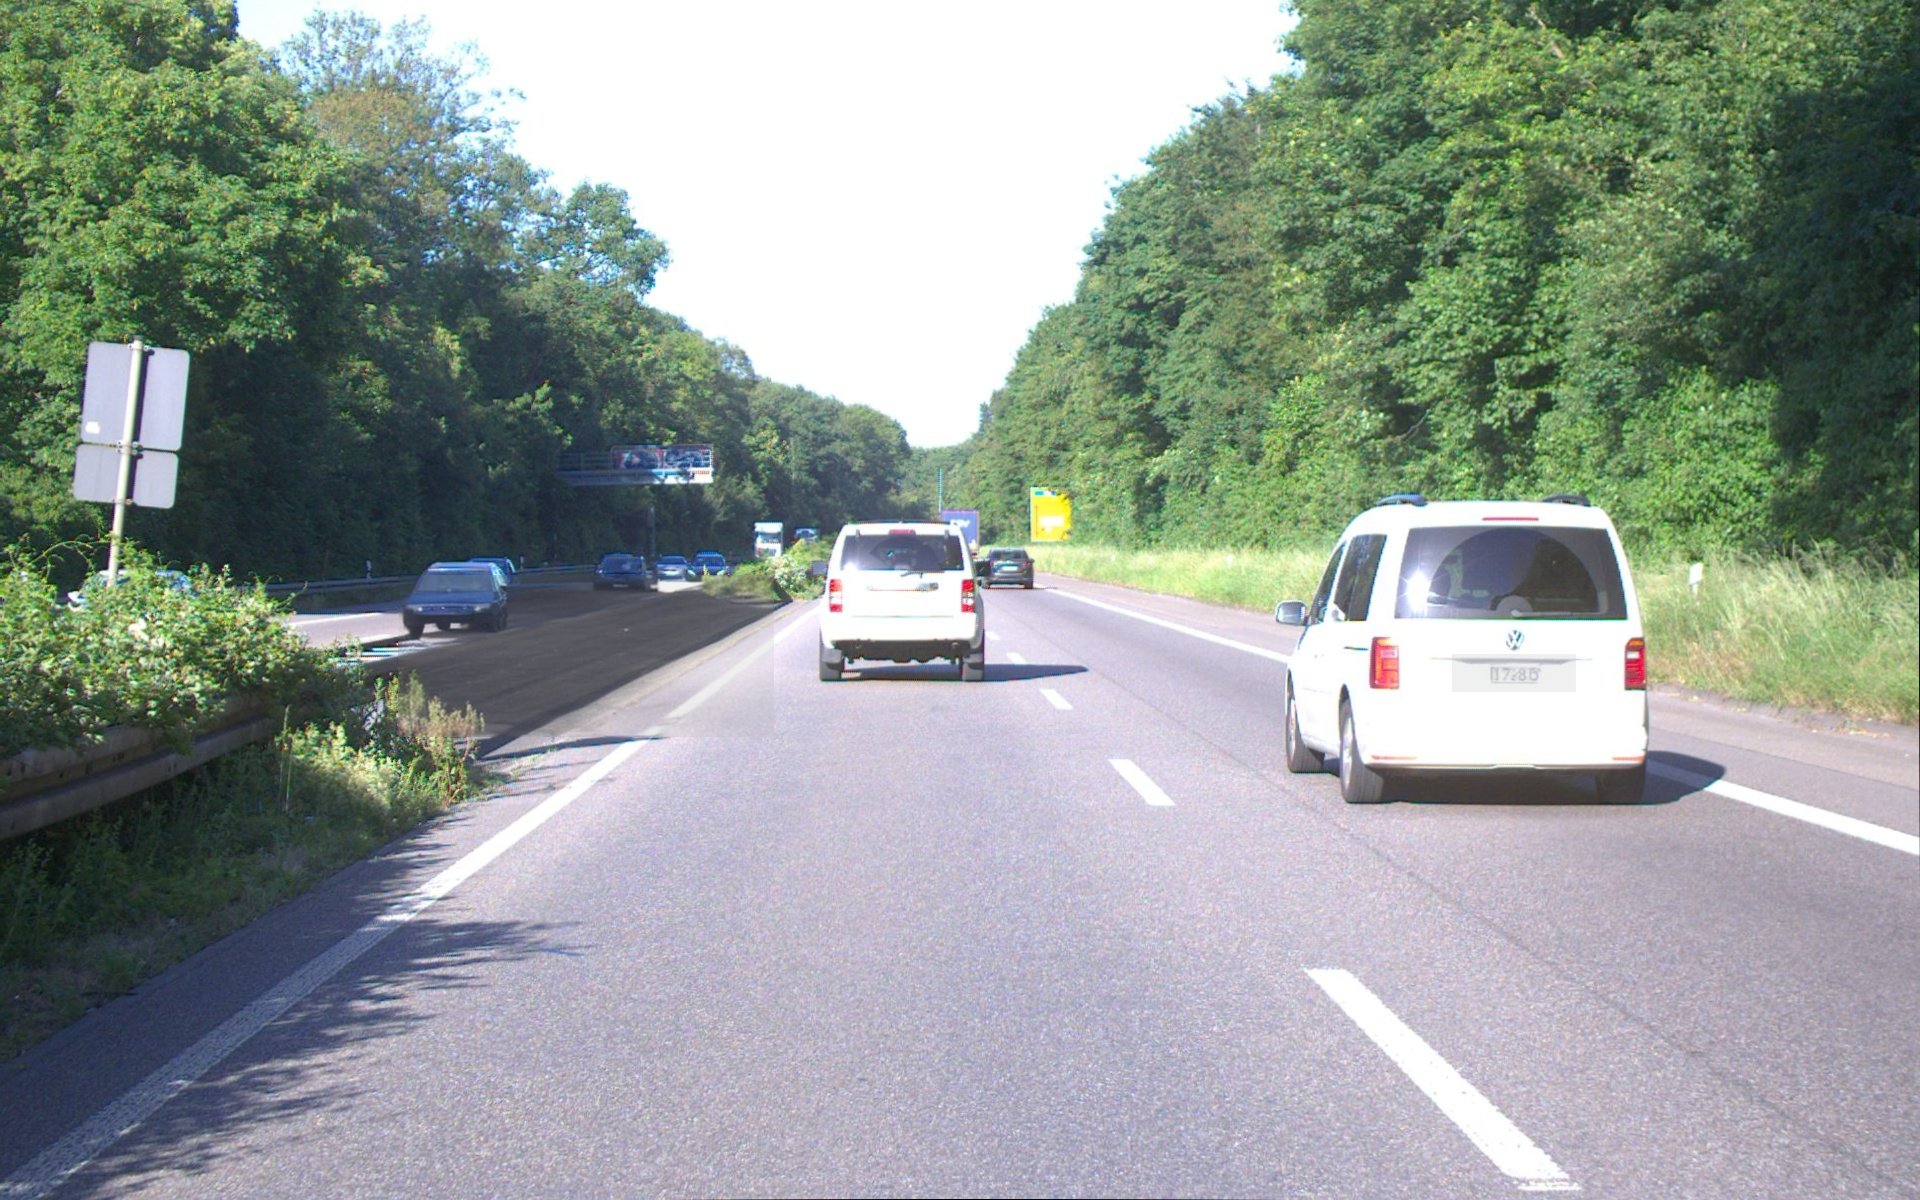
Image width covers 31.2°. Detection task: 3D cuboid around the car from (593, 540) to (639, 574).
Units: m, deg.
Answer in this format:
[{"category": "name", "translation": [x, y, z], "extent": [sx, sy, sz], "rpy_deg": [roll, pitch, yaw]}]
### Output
[{"category": "car", "translation": [-15.126, -1.900, 151.376], "extent": [1.718, 1.440, 4.229], "rpy_deg": [-1, 1, -2]}]

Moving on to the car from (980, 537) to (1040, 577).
[{"category": "car", "translation": [1.778, -1.564, 123.338], "extent": [1.993, 1.393, 4.000], "rpy_deg": [1, 1, -1]}]

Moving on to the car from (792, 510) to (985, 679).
[{"category": "car", "translation": [-0.874, -0.096, 39.166], "extent": [2.085, 1.822, 4.001], "rpy_deg": [0, 1, -3]}]

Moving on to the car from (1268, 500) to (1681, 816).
[{"category": "car", "translation": [3.094, 0.283, 21.584], "extent": [1.863, 1.764, 4.470], "rpy_deg": [0, 1, -1]}]

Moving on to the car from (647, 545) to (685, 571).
[{"category": "car", "translation": [-15.445, -2.216, 180.740], "extent": [1.718, 1.352, 4.229], "rpy_deg": [-1, 1, -2]}]

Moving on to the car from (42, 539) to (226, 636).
[{"category": "car", "translation": [-13.172, -0.235, 55.044], "extent": [1.960, 1.445, 4.327], "rpy_deg": [1, 1, -1]}]

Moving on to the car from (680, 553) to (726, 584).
[{"category": "car", "translation": [-11.477, -1.422, 153.694], "extent": [1.835, 1.352, 4.475], "rpy_deg": [0, 1, -2]}]

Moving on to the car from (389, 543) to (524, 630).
[{"category": "car", "translation": [-9.389, -0.281, 64.433], "extent": [1.960, 1.535, 4.465], "rpy_deg": [0, 1, -1]}]

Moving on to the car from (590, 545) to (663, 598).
[{"category": "car", "translation": [-10.101, -0.879, 104.422], "extent": [1.877, 1.535, 4.465], "rpy_deg": [-1, 1, -1]}]

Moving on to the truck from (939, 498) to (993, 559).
[{"category": "truck", "translation": [0.397, -4.947, 238.329], "extent": [3.496, 4.158, 8.862], "rpy_deg": [-1, 1, -1]}]
